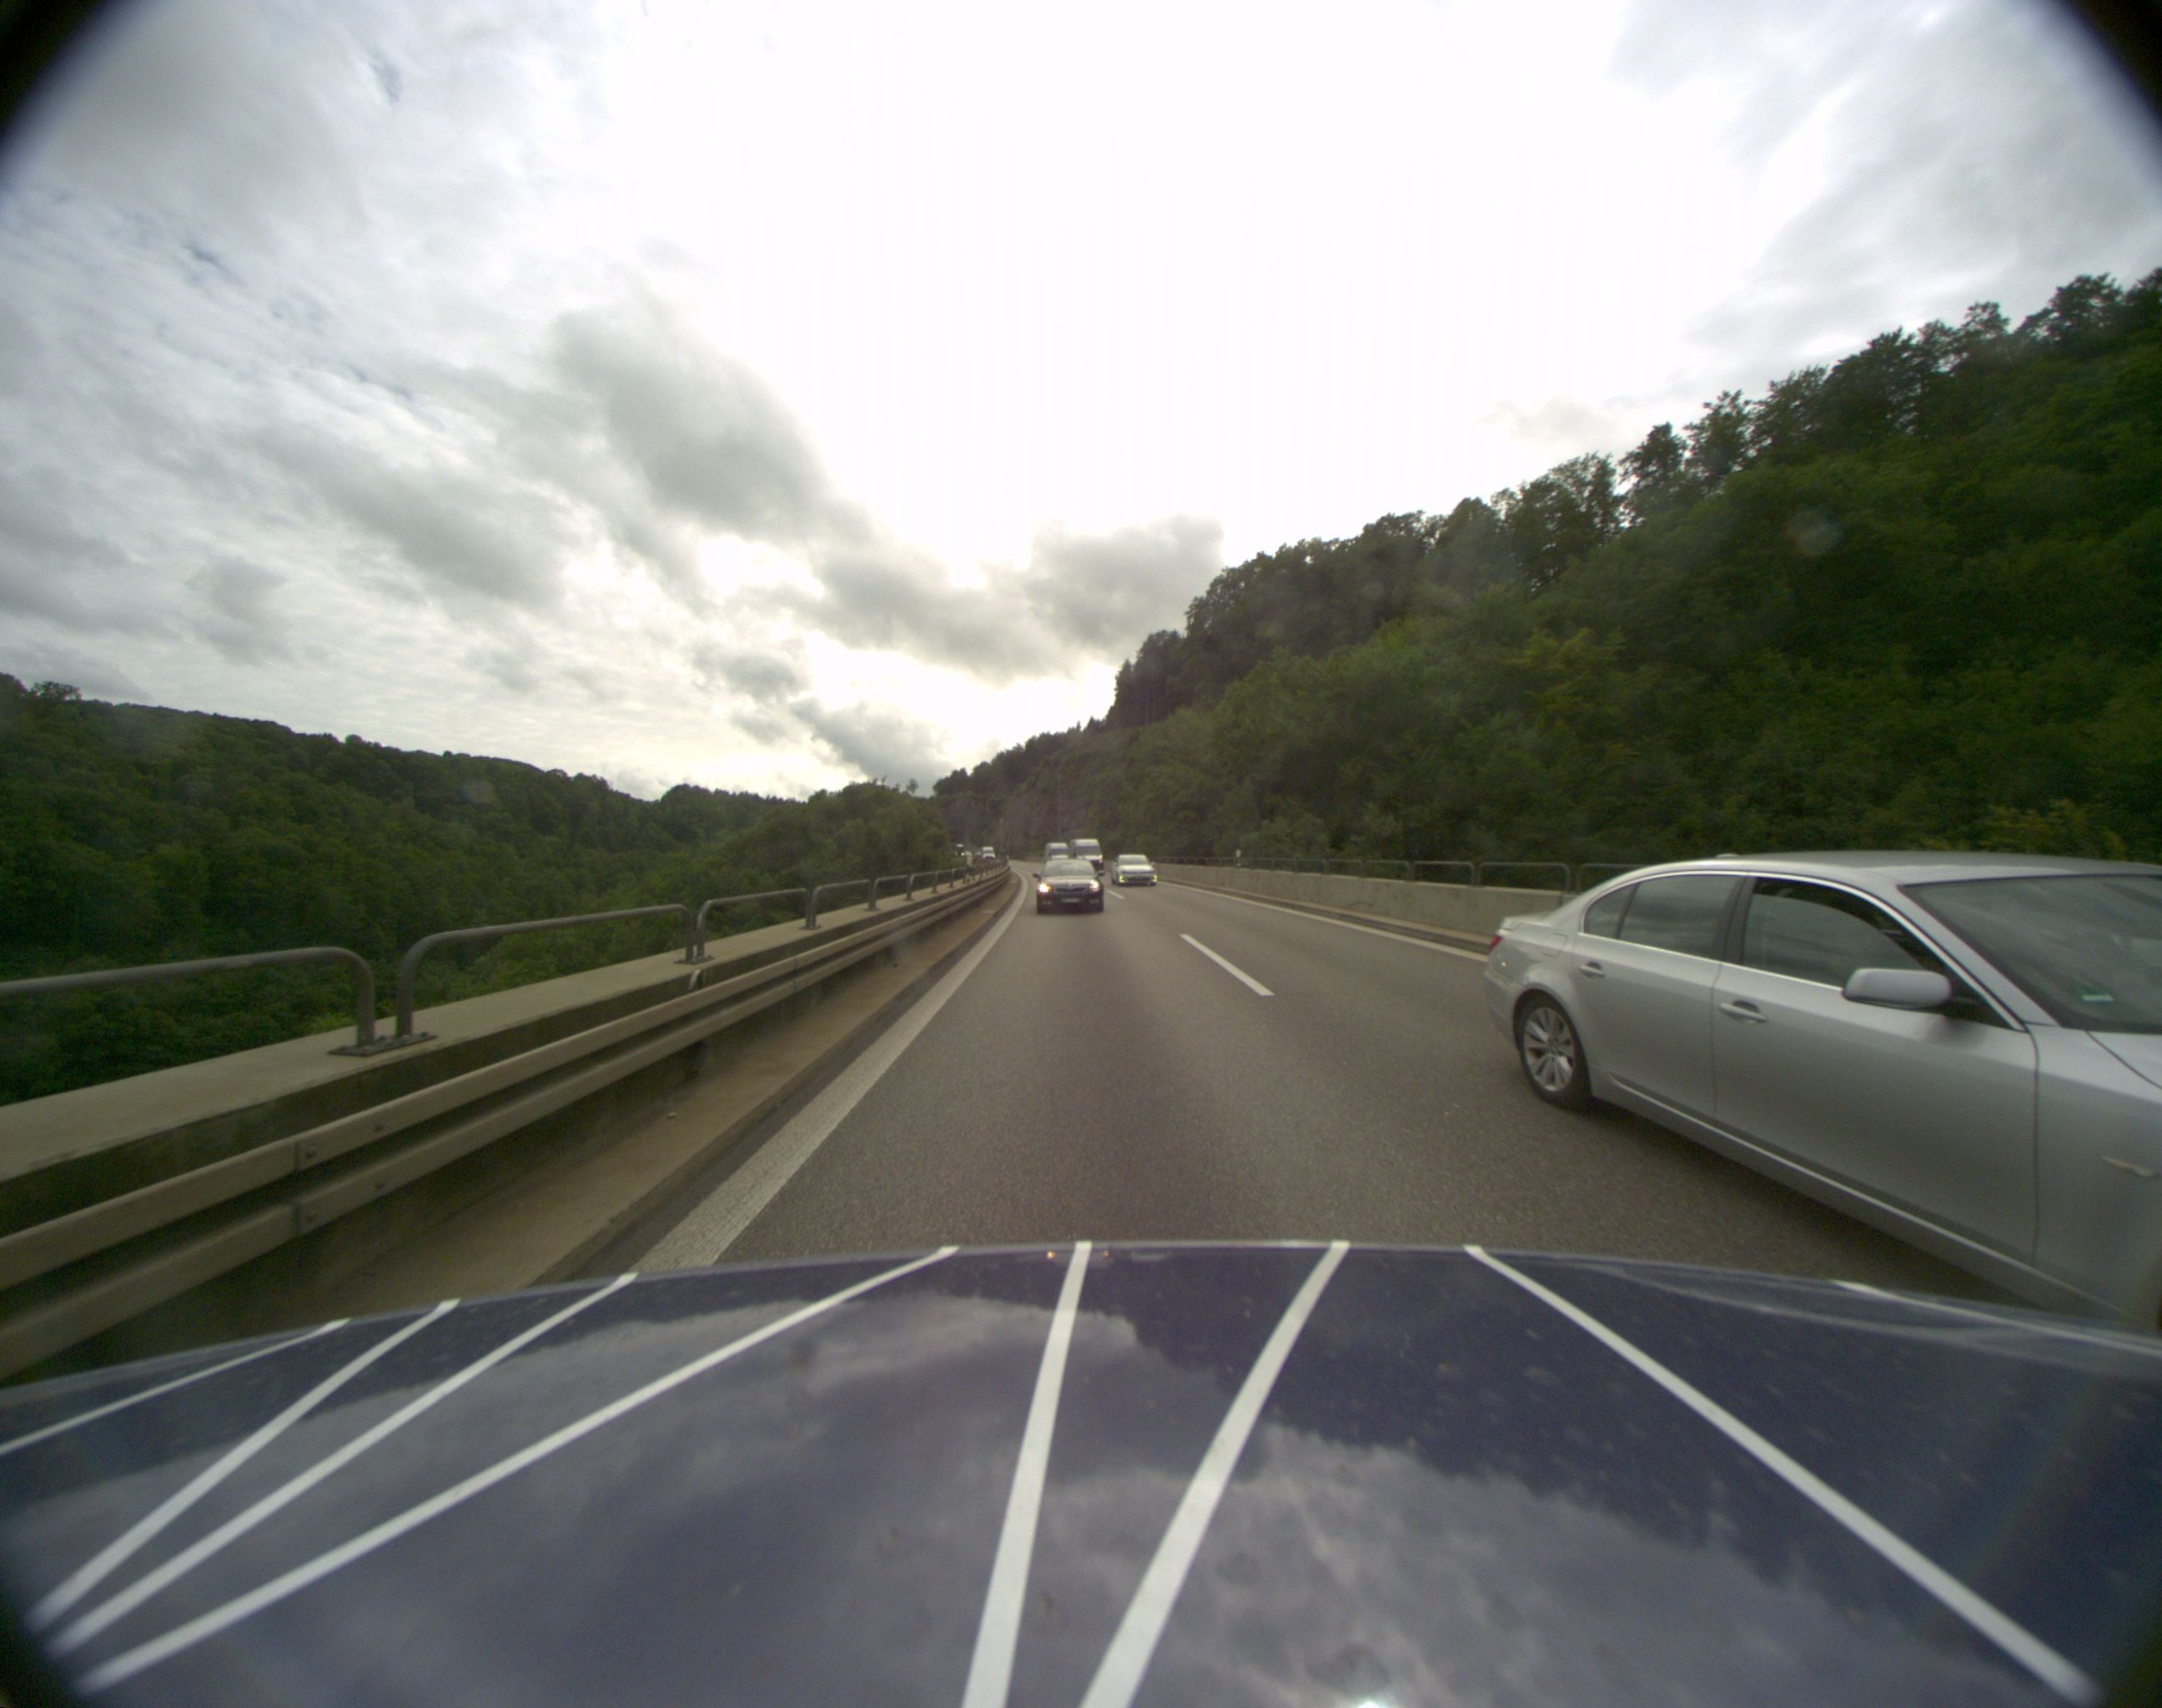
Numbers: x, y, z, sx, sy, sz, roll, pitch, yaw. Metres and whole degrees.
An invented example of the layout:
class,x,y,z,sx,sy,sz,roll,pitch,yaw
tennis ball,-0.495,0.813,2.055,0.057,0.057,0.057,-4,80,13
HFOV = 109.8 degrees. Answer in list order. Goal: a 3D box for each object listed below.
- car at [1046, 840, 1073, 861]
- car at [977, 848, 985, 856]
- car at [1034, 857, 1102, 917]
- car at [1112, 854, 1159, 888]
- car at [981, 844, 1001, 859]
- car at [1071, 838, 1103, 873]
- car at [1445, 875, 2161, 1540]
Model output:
class,x,y,z,sx,sy,sz,roll,pitch,yaw
car,-2.274,-0.329,78.664,2.231,2.061,5.620,-2,1,-8
car,-28.608,-0.570,217.635,2.001,2.002,3.995,-1,0,-14
car,-0.388,0.842,21.340,1.677,1.419,4.471,-1,0,-2
car,2.548,0.771,36.395,1.923,1.452,4.230,-1,1,0
car,-15.545,-0.389,131.049,2.677,2.409,6.114,-2,1,-12
car,0.432,0.068,58.343,1.869,2.444,4.979,-1,2,-6
car,3.517,0.912,2.811,1.833,1.448,5.134,-1,0,0
